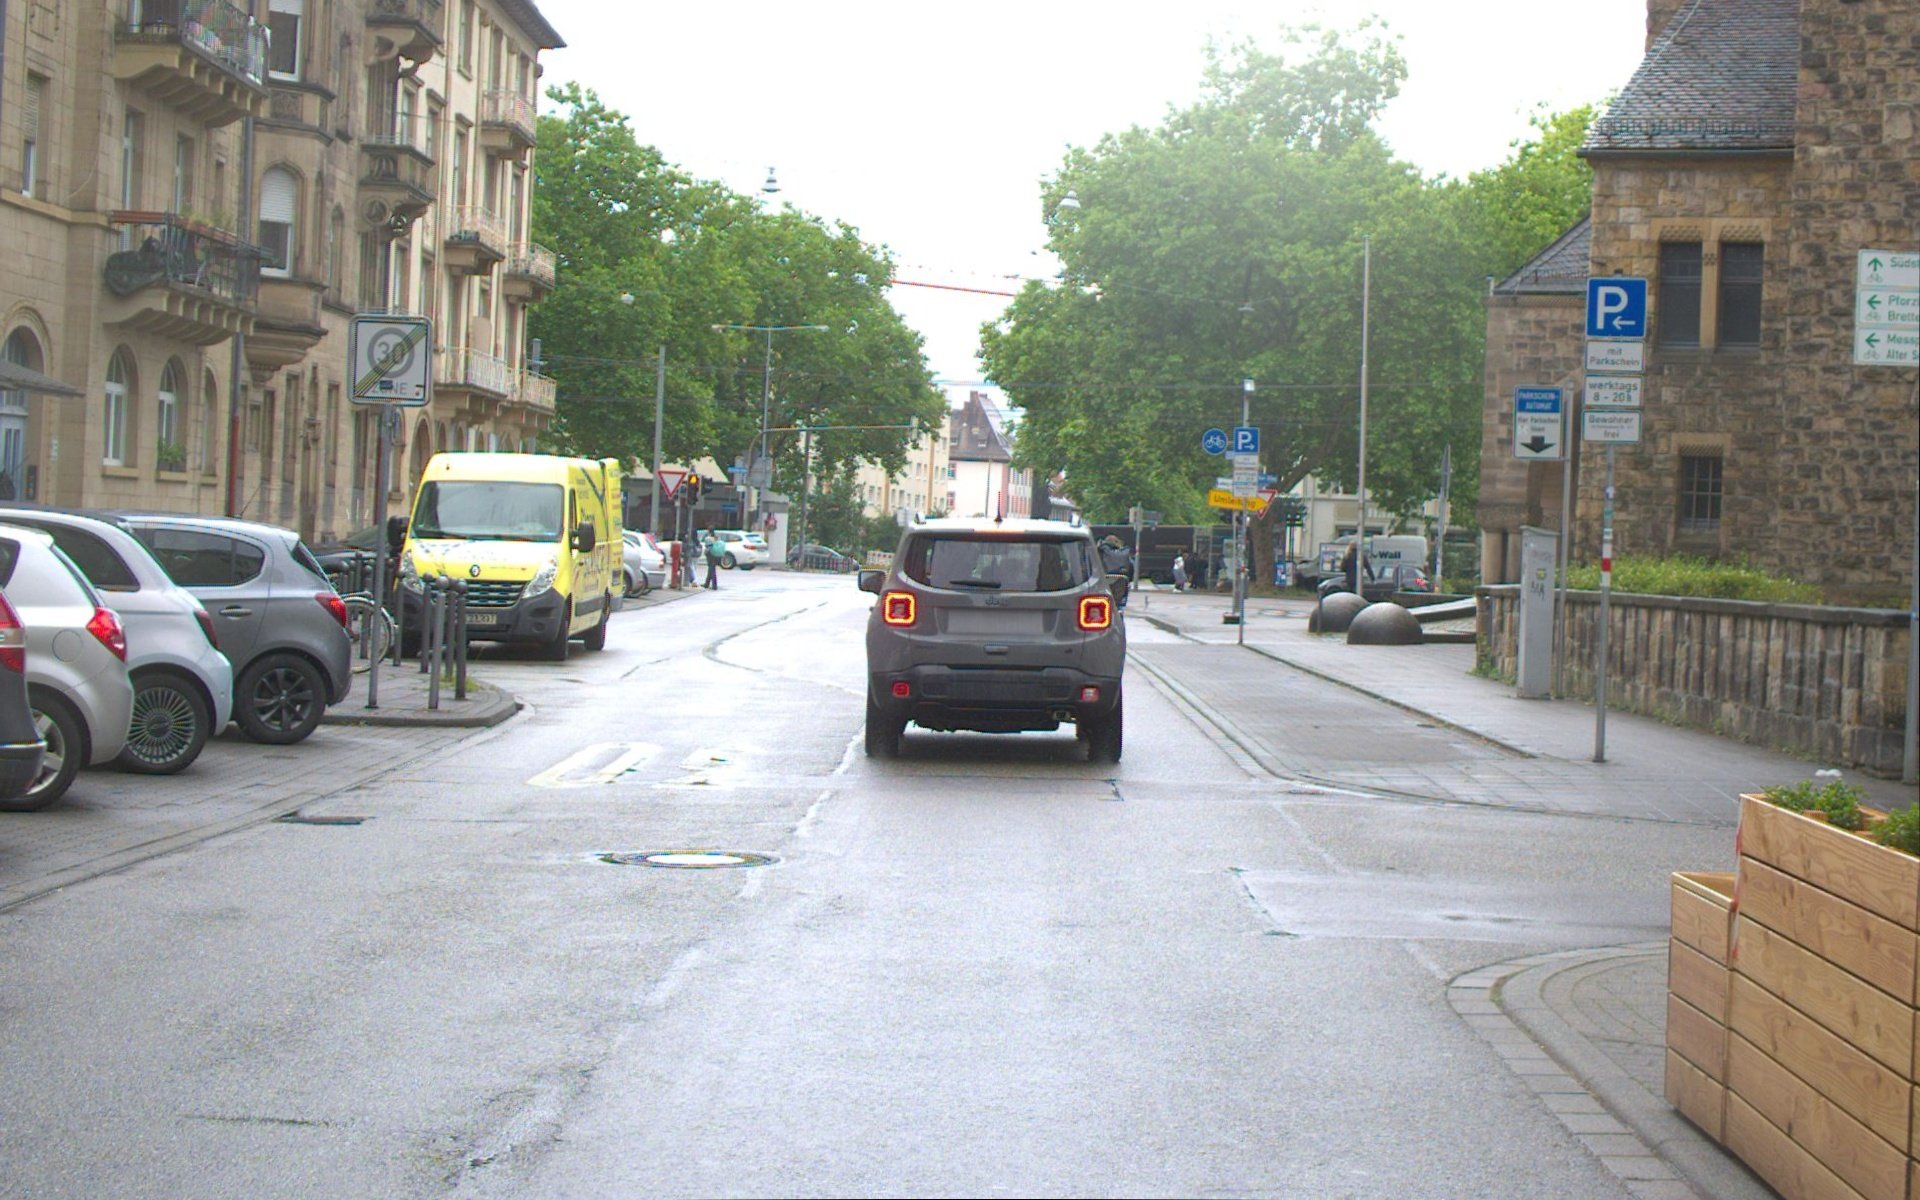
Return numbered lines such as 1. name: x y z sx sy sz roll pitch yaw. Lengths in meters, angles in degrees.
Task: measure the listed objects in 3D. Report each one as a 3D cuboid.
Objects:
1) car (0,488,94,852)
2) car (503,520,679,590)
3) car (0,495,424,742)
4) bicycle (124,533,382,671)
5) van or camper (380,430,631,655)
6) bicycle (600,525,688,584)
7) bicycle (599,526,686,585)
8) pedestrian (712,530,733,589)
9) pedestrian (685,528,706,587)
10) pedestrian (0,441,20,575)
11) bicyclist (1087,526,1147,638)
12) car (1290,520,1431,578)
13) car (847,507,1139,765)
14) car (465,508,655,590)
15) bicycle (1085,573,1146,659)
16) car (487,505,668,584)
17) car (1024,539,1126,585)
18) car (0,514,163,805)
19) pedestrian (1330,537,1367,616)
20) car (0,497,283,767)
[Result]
1. car: -5.620 0.216 14.587 3.375 1.536 1.681 3 1 -30
2. car: -8.238 -1.001 76.846 3.413 1.311 1.779 3 0 -32
3. car: -5.768 0.092 22.923 3.818 1.502 1.989 3 1 -29
4. bicycle: -6.356 0.009 30.960 2.132 1.093 0.594 4 1 1
5. van or camper: -5.500 -0.602 42.575 2.121 2.522 6.874 -1 -1 0
6. bicycle: -7.928 -1.143 86.260 2.109 1.439 0.539 1 1 -19
7. bicycle: -8.059 -1.133 87.256 2.092 1.439 0.491 1 1 -19
8. pedestrian: -6.498 -1.114 93.992 0.467 1.580 0.752 2 1 0
9. pedestrian: -7.180 -1.152 93.294 0.467 1.580 0.659 2 1 0
10. pedestrian: -12.864 -1.228 45.542 0.660 1.751 0.797 1 1 -23
11. bicyclist: 2.012 -0.239 44.231 0.705 1.399 1.171 2 1 1
12. car: 17.206 -2.199 147.993 5.905 2.326 2.059 2 1 4
13. car: 0.202 0.205 25.228 1.898 1.665 4.506 2 1 0
14. car: -8.583 -1.093 73.737 3.496 1.513 1.886 3 0 -32
15. bicycle: 1.997 0.198 44.238 0.705 1.050 1.813 2 1 1
16. car: -8.840 -1.283 79.476 3.729 1.553 1.672 3 0 -32
17. car: 3.986 -1.312 119.241 3.190 1.495 1.540 2 1 18
18. car: -5.997 0.237 17.455 3.375 1.453 1.681 2 1 -33
19. pedestrian: 8.518 -0.515 75.460 0.691 1.705 0.684 2 1 1
20. car: -5.903 0.139 20.141 3.375 1.502 1.681 3 1 -29
